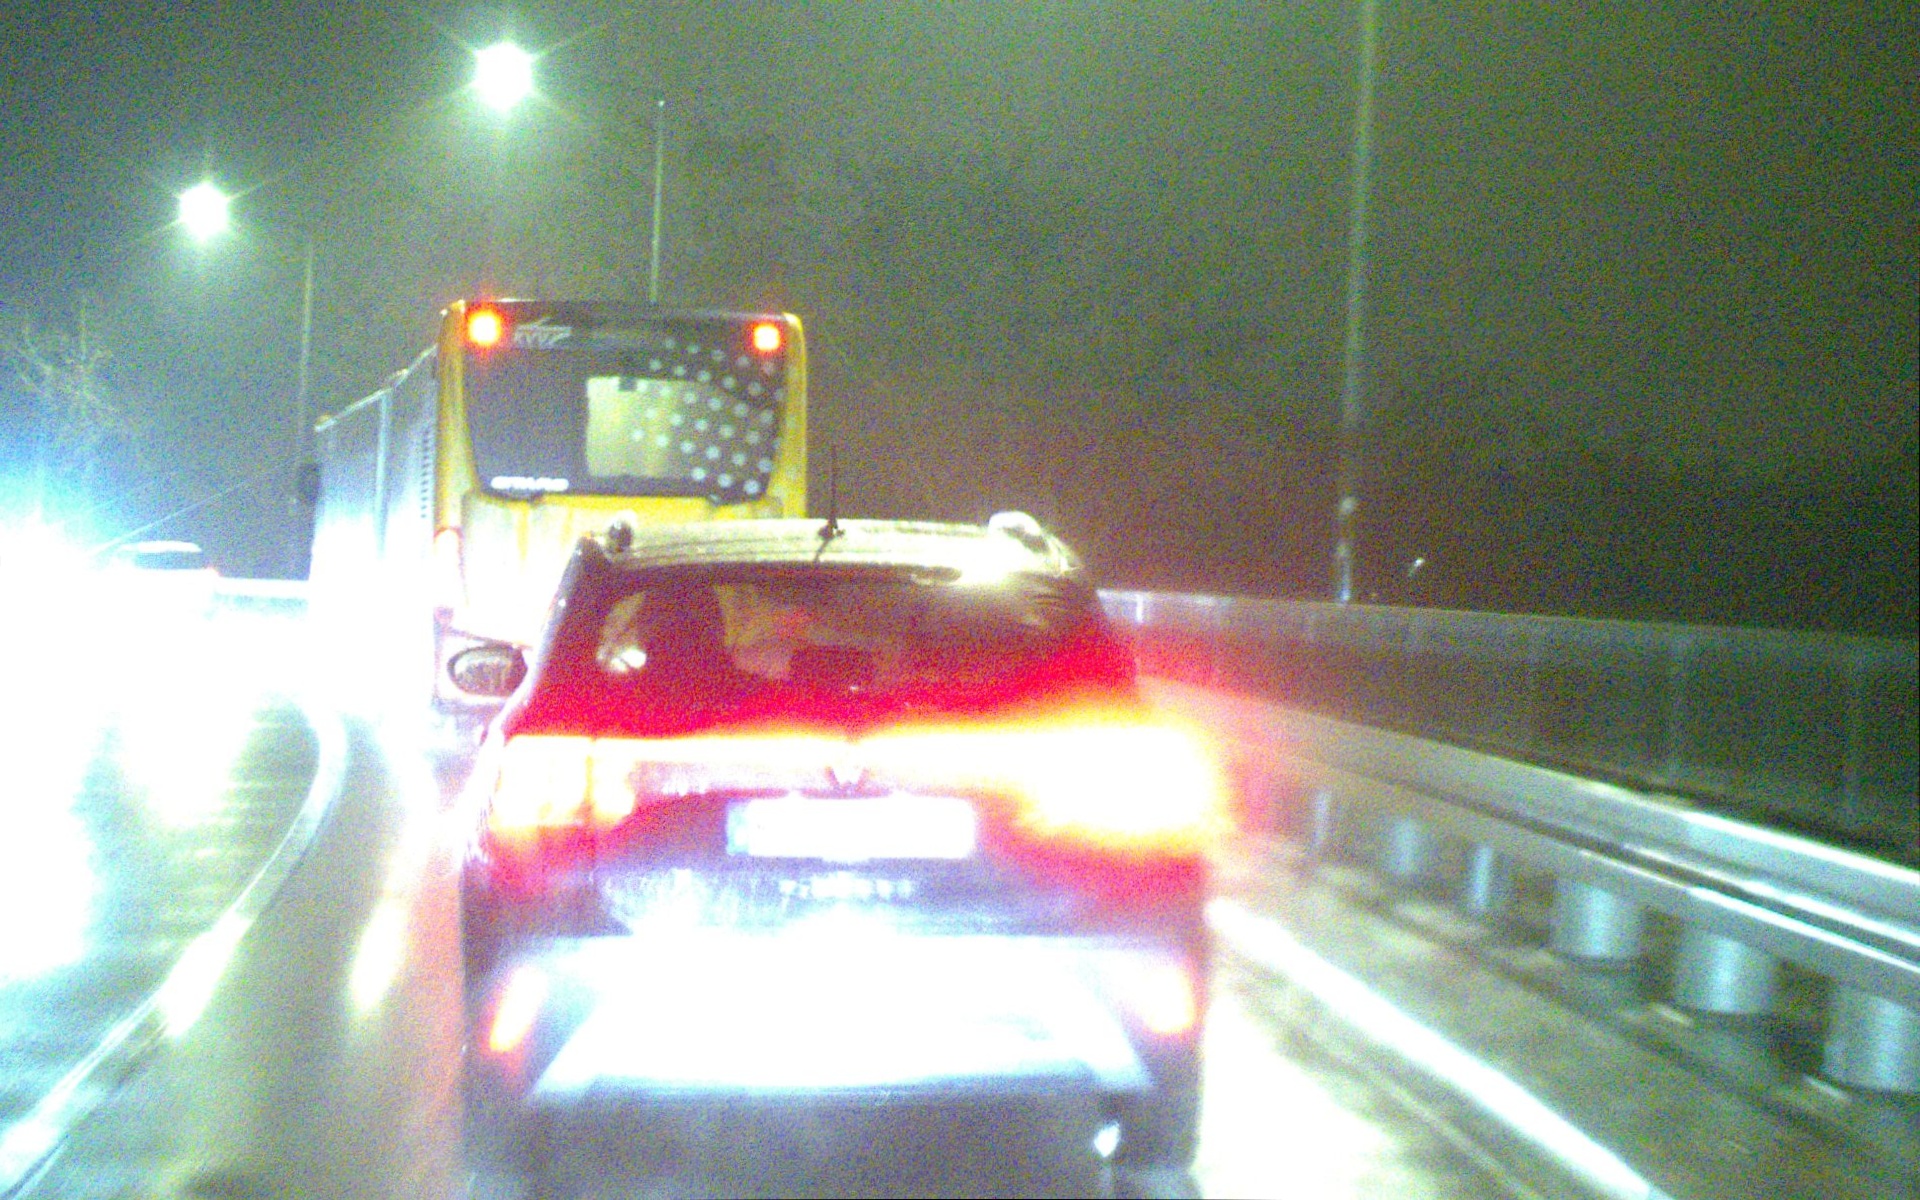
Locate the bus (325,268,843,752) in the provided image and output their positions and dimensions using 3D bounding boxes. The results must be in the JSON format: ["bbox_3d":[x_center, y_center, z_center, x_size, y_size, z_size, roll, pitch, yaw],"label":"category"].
[{"bbox_3d":[-3.584,-0.726,28.736,3.082,3.122,12.701,-1,1,-12],"label":"bus"}]

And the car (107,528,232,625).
[{"bbox_3d":[-14.114,-0.412,61.267,1.636,1.650,3.711,-1,1,-21],"label":"car"}]

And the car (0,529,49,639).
[{"bbox_3d":[-15.897,-0.259,55.205,1.778,1.698,4.315,-1,1,-24],"label":"car"}]

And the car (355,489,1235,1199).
[{"bbox_3d":[-0.424,0.539,9.282,1.855,1.581,4.000,0,1,-2],"label":"car"}]

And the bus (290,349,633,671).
[{"bbox_3d":[-5.806,-1.033,38.789,3.048,3.121,8.081,3,1,-13],"label":"bus"}]
